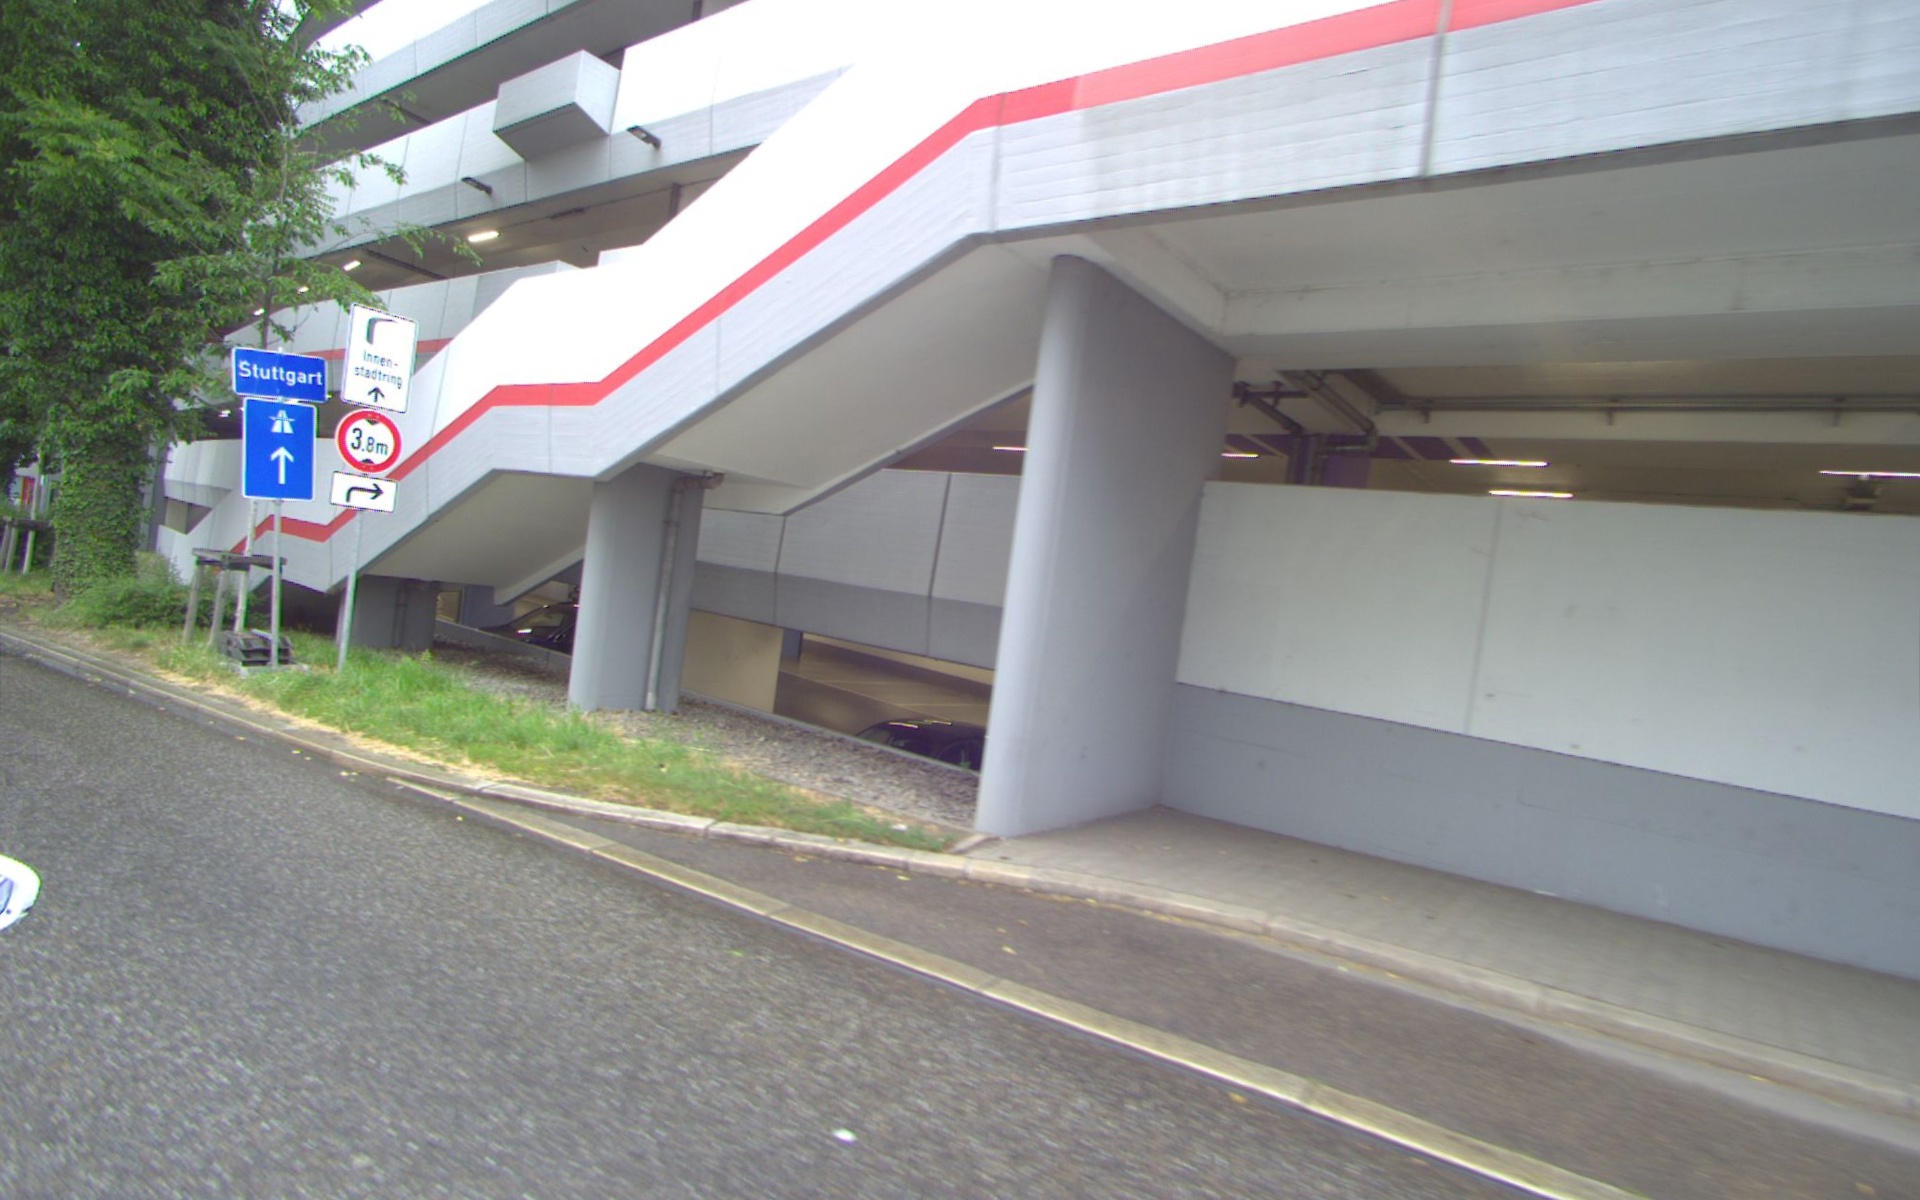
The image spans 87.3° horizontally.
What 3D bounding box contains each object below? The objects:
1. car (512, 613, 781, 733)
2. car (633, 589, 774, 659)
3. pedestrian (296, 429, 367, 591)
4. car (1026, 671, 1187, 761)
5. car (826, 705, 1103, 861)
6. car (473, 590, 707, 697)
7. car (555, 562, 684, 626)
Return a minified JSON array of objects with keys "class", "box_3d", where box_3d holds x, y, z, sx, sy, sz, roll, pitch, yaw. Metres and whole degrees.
[{"class":"car","box_3d":[-5.227,1.289,17.251,1.810,1.643,3.988,7,-1,36]},{"class":"car","box_3d":[-8.305,0.822,32.833,1.792,1.804,3.978,7,0,44]},{"class":"pedestrian","box_3d":[-8.781,-1.249,14.063,0.486,2.181,0.514,7,1,36]},{"class":"car","box_3d":[3.462,2.659,23.228,1.810,1.559,3.988,11,1,37]},{"class":"car","box_3d":[0.204,2.473,14.394,1.810,1.559,3.931,11,1,37]},{"class":"car","box_3d":[-7.034,0.901,19.435,1.782,1.559,3.734,11,1,37]},{"class":"car","box_3d":[-12.425,-0.195,36.901,1.792,1.804,3.978,7,0,44]}]
